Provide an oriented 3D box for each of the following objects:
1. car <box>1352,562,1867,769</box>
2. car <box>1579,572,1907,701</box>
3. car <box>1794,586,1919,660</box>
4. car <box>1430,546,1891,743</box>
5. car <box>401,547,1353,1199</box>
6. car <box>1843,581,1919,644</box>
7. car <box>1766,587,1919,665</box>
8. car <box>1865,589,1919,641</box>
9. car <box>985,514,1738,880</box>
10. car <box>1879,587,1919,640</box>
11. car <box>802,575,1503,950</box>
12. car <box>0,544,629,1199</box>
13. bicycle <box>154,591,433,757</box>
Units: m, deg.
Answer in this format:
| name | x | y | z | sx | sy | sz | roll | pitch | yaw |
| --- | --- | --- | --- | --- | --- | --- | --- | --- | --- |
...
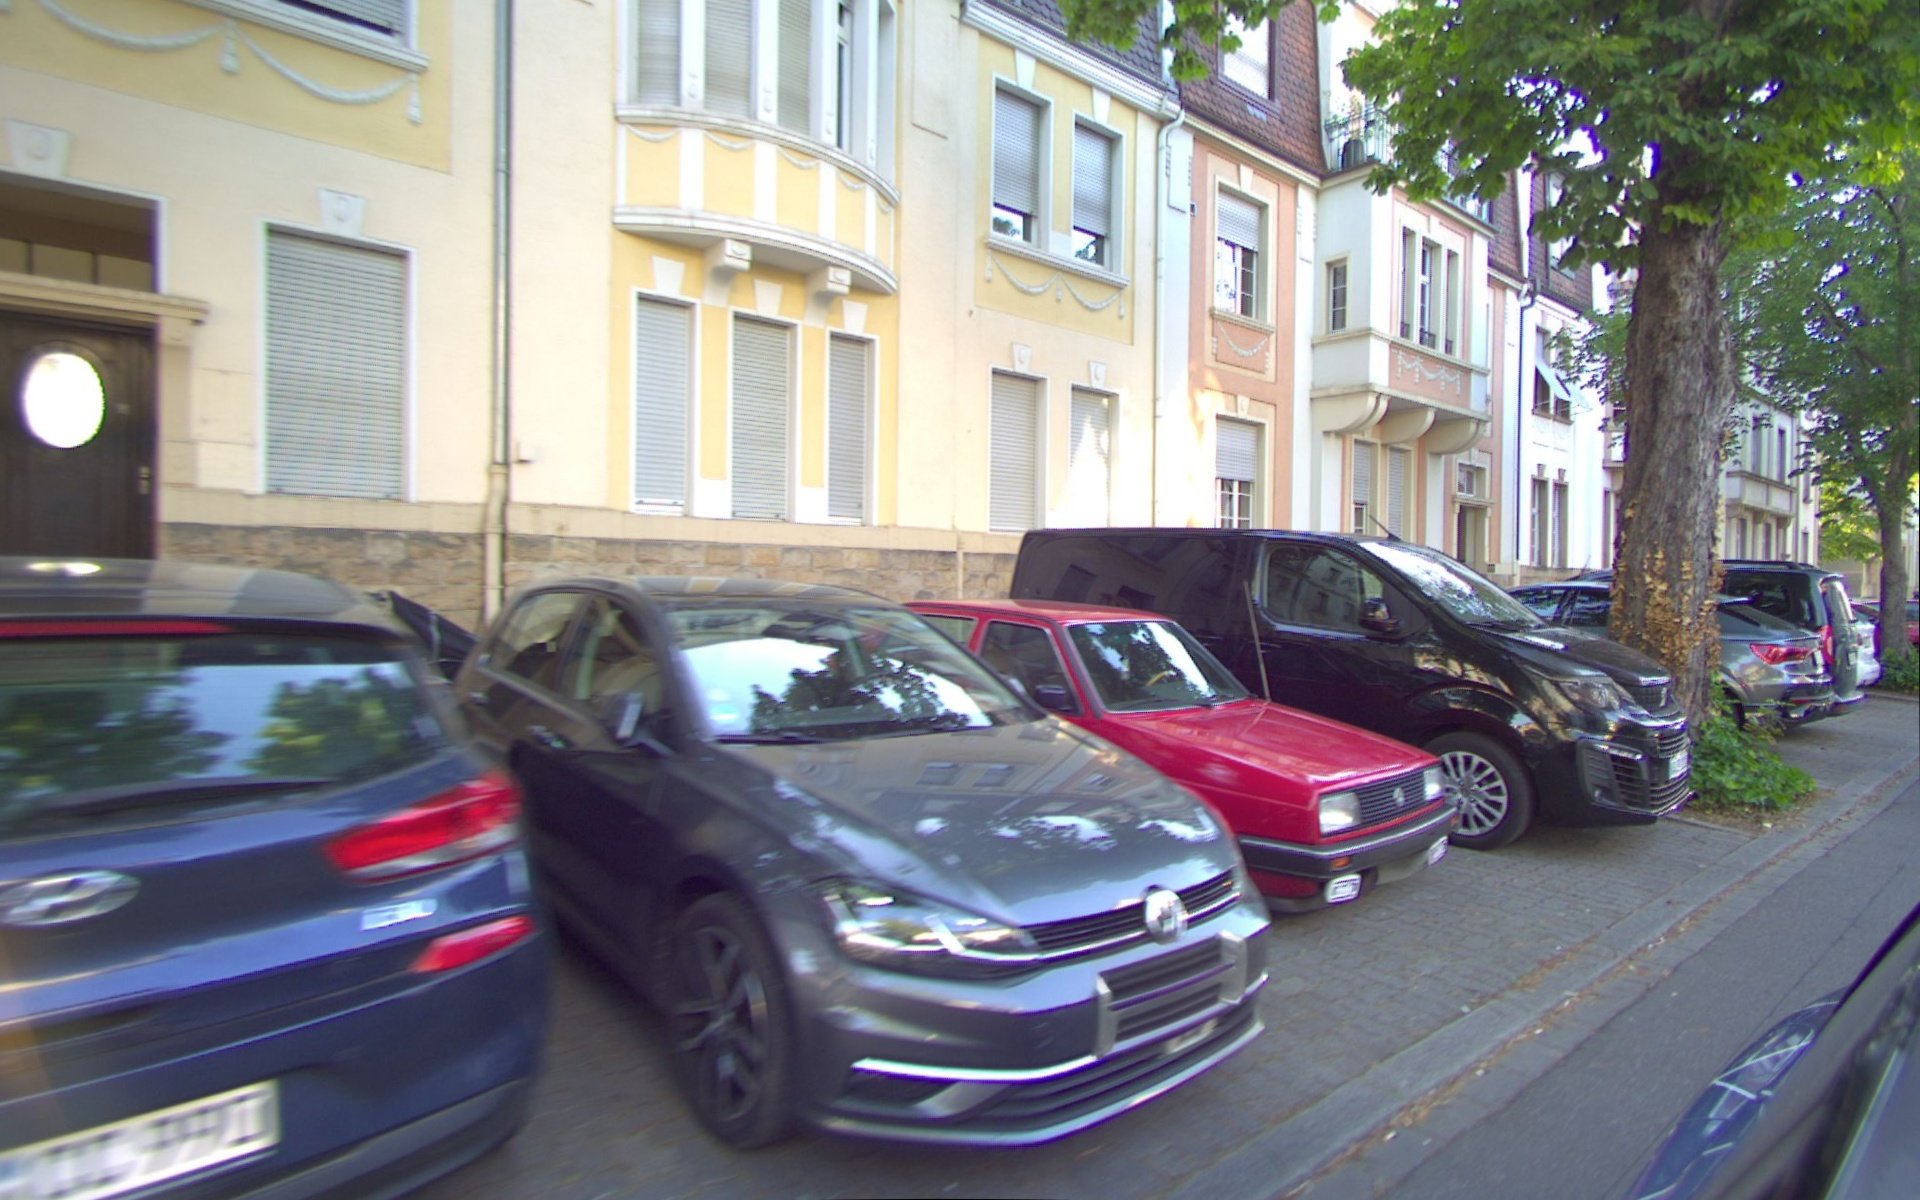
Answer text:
| name | x | y | z | sx | sy | sz | roll | pitch | yaw |
| --- | --- | --- | --- | --- | --- | --- | --- | --- | --- |
| car | 6.426 | 0.475 | 10.413 | 1.568 | 1.611 | 4.167 | -1 | 4 | -43 |
| car | 11.476 | 0.437 | 15.001 | 1.512 | 1.569 | 3.618 | 0 | 3 | -43 |
| car | 20.805 | 0.509 | 22.194 | 1.510 | 1.482 | 3.623 | 0 | 3 | -39 |
| car | 7.995 | 0.340 | 11.880 | 1.568 | 1.849 | 4.167 | -1 | 4 | -43 |
| car | -0.803 | 0.555 | 3.949 | 1.600 | 1.439 | 4.057 | -1 | 4 | -41 |
| car | 25.675 | 0.352 | 26.490 | 1.510 | 1.584 | 3.622 | 0 | 2 | -39 |
| car | 18.886 | 0.530 | 20.575 | 1.510 | 1.420 | 3.623 | 0 | 3 | -39 |
| car | 28.044 | 0.472 | 28.465 | 1.510 | 1.420 | 3.622 | 0 | 2 | -39 |
| car | 2.546 | 0.351 | 7.494 | 1.850 | 1.846 | 4.828 | -1 | 4 | -43 |
| car | 30.057 | 0.450 | 30.252 | 1.510 | 1.584 | 3.622 | 0 | 2 | -39 |
| car | 0.785 | 0.592 | 5.938 | 1.531 | 1.337 | 3.919 | -1 | 4 | -41 |
| car | -2.513 | 0.585 | 2.954 | 1.600 | 1.439 | 3.757 | -1 | 4 | -41 |
| bicycle | -4.889 | 0.498 | 7.491 | 1.673 | 1.089 | 0.501 | 0 | 3 | -40 |
